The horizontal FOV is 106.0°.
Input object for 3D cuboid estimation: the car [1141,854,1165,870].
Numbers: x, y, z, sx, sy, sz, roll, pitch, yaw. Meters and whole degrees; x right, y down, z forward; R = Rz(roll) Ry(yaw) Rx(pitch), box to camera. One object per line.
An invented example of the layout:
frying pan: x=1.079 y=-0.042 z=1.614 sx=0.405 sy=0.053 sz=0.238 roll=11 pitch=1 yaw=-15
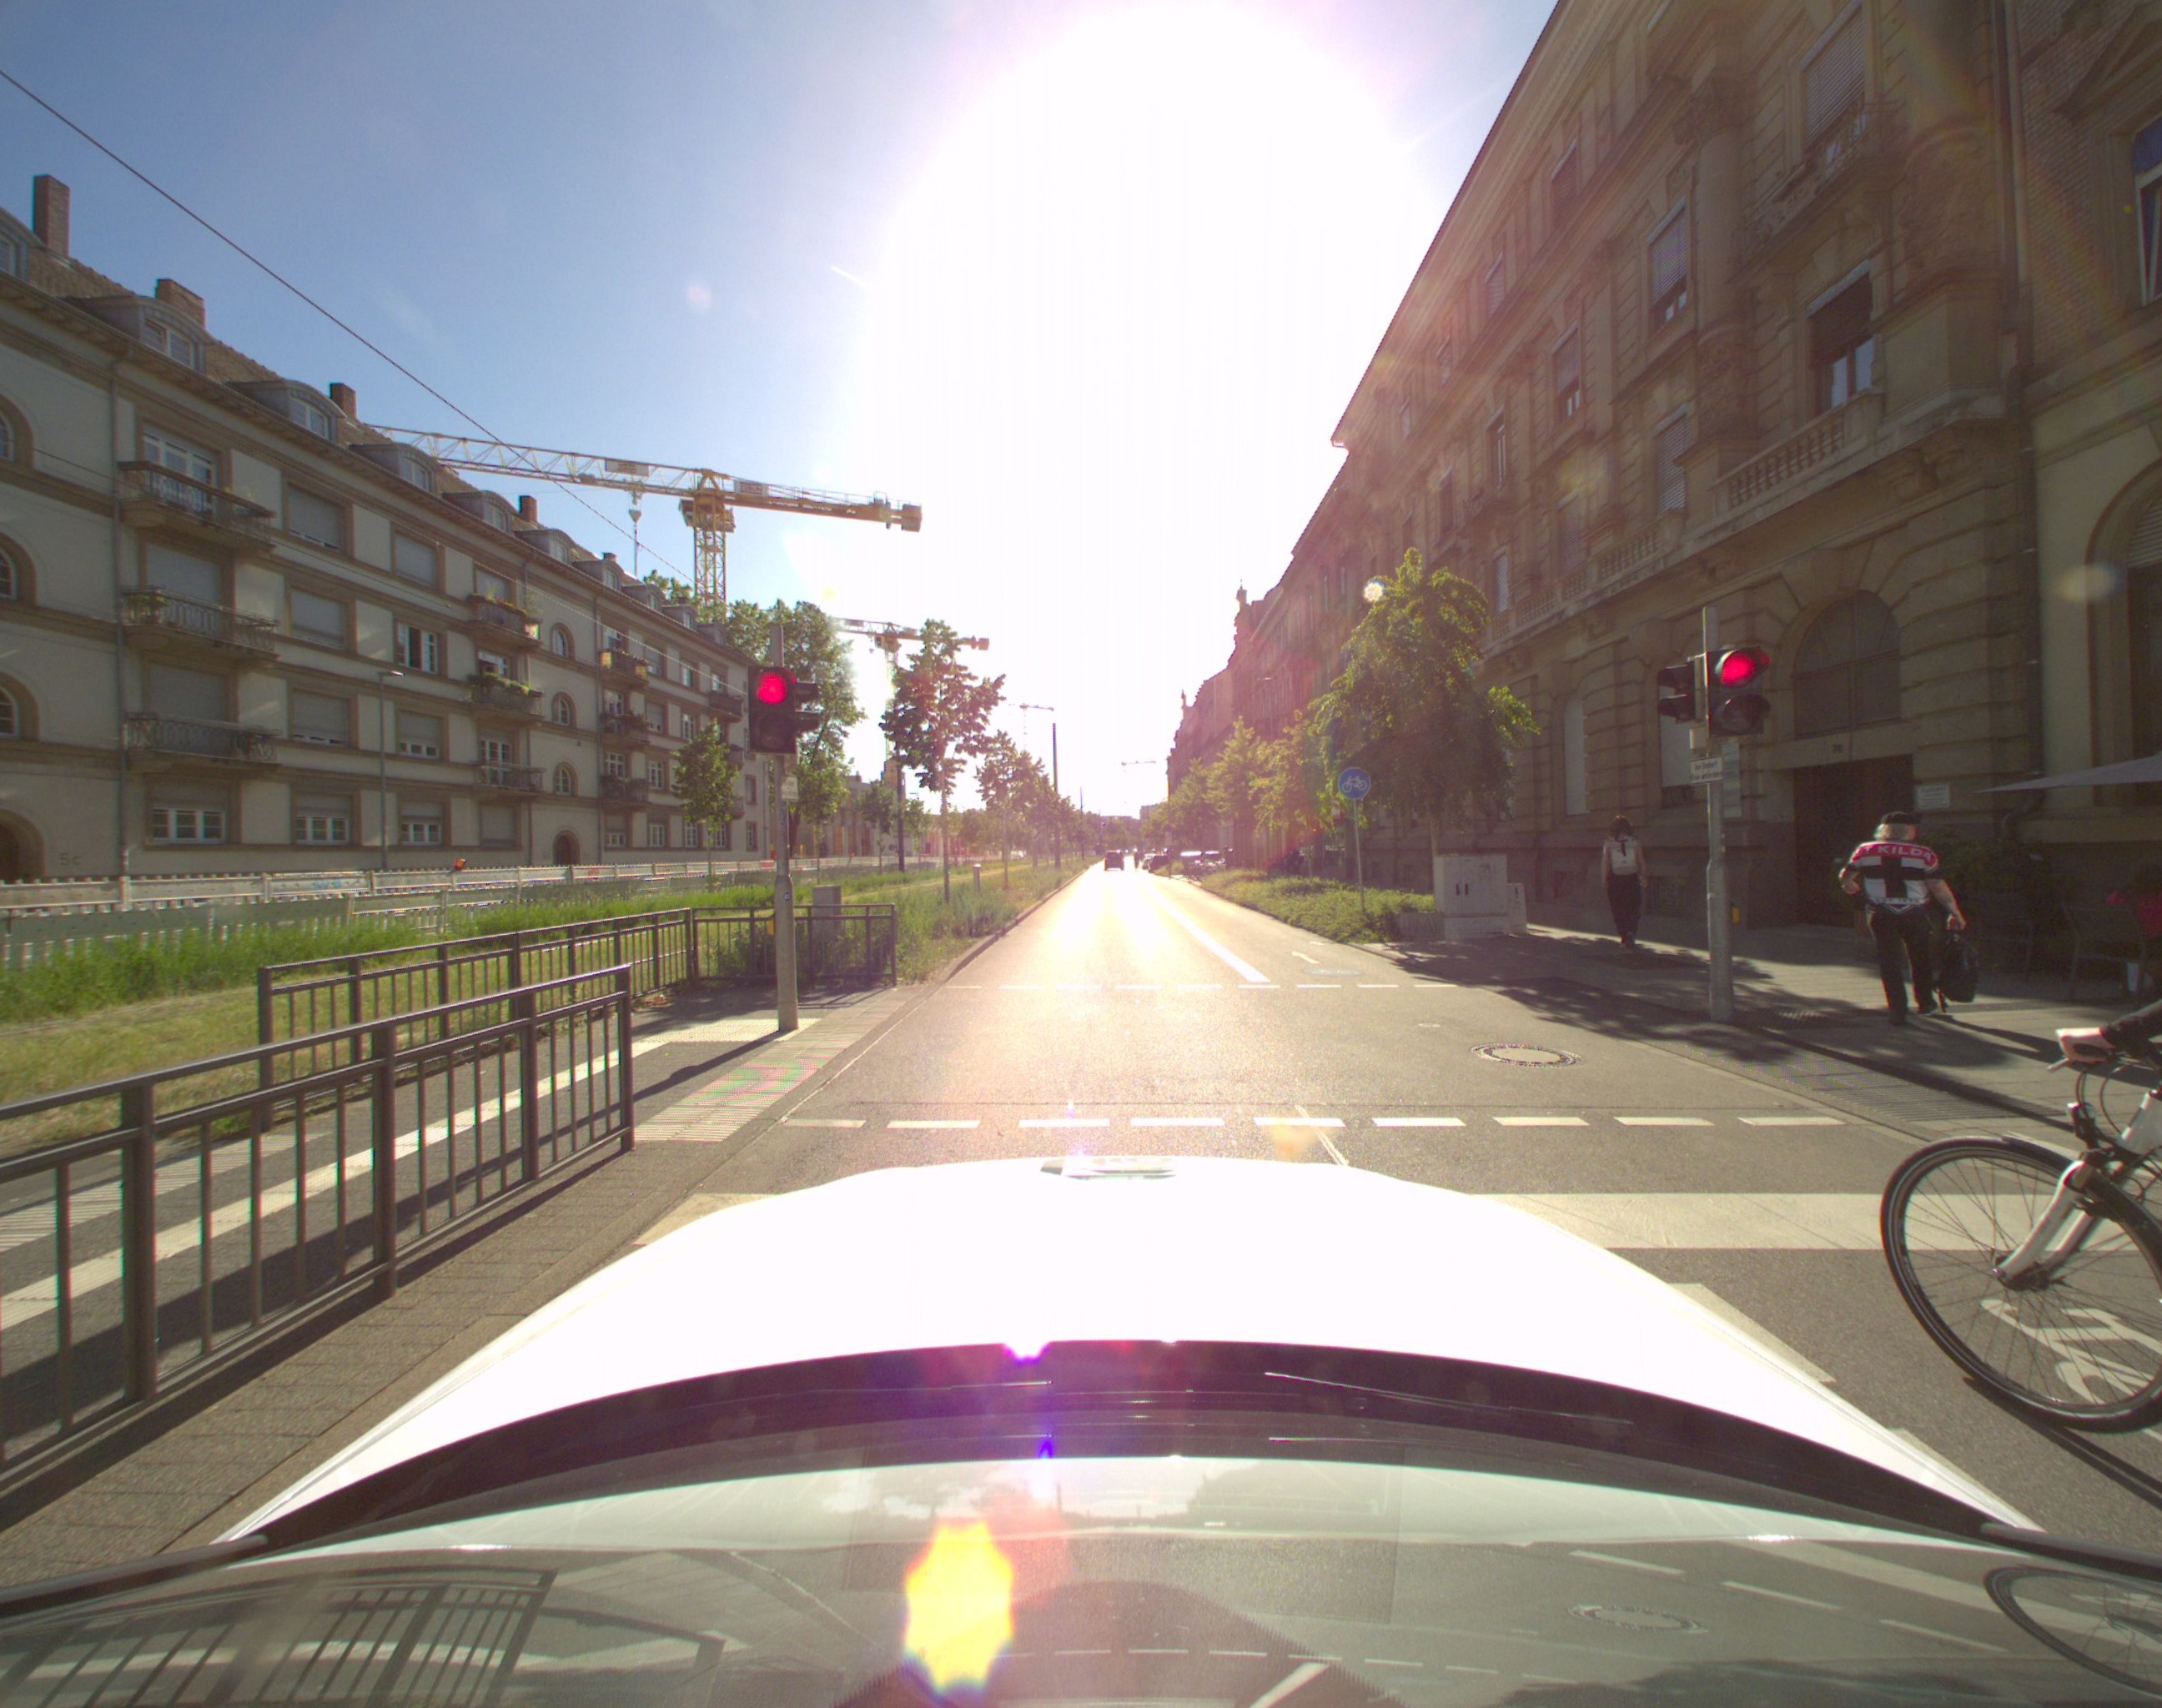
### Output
car: x=6.993 y=0.749 z=79.787 sx=2.020 sy=1.499 sz=4.532 roll=-2 pitch=0 yaw=2

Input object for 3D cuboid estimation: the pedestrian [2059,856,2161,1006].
pedestrian: x=9.107 y=0.628 z=6.945 sx=0.703 sy=1.178 sz=0.635 roll=-3 pitch=0 yaw=1

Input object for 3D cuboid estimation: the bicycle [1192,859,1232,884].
bicycle: x=6.340 y=0.841 z=39.527 sx=1.786 sy=1.030 sz=0.528 roll=-6 pitch=0 yaw=1

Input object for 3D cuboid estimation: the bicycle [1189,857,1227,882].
bicycle: x=6.372 y=0.769 z=40.901 sx=1.786 sy=1.030 sz=0.528 roll=-6 pitch=0 yaw=1

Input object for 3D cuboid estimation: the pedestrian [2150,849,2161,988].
pedestrian: x=9.892 y=0.555 z=6.922 sx=0.703 sy=1.236 sz=0.635 roll=-3 pitch=0 yaw=1

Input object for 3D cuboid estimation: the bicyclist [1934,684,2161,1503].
bicyclist: x=2.650 y=0.501 z=1.729 sx=0.776 sy=1.711 sz=0.869 roll=0 pitch=0 yaw=1

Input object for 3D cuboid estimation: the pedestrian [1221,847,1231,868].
pedestrian: x=11.384 y=0.259 z=64.018 sx=0.611 sy=1.611 sz=0.669 roll=-2 pitch=0 yaw=1

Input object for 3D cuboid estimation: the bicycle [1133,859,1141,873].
bicycle: x=4.949 y=1.041 z=72.085 sx=0.599 sy=1.181 sz=1.870 roll=0 pitch=0 yaw=1

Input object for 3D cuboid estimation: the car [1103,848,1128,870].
car: x=3.218 y=0.446 z=76.473 sx=2.192 sy=1.926 sz=4.655 roll=-2 pitch=0 yaw=2

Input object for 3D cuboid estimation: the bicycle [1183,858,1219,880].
bicycle: x=6.480 y=0.795 z=43.899 sx=1.786 sy=1.030 sz=0.528 roll=-6 pitch=0 yaw=1

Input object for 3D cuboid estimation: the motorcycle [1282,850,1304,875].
motorcycle: x=11.457 y=0.446 z=44.041 sx=0.697 sy=1.267 sz=1.983 roll=-2 pitch=0 yaw=2

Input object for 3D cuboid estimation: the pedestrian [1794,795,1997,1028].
pedestrian: x=6.828 y=0.436 z=6.859 sx=0.869 sy=1.788 sz=0.963 roll=0 pitch=0 yaw=-25

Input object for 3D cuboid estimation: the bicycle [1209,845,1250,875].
bicycle: x=7.481 y=0.297 z=41.088 sx=1.887 sy=1.330 sz=0.617 roll=-6 pitch=0 yaw=1

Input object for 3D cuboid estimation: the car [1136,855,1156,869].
car: x=7.337 y=0.846 z=92.315 sx=2.020 sy=1.499 sz=4.532 roll=-2 pitch=0 yaw=2

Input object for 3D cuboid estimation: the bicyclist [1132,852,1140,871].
bicyclist: x=4.908 y=0.633 z=72.241 sx=0.681 sy=1.673 sz=0.922 roll=0 pitch=0 yaw=1

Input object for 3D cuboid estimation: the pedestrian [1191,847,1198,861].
pedestrian: x=12.707 y=-0.015 z=91.269 sx=0.611 sy=1.611 sz=0.669 roll=-2 pitch=0 yaw=1

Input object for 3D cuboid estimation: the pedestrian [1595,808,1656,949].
pedestrian: x=7.805 y=0.328 z=11.682 sx=0.645 sy=1.908 sz=1.086 roll=-2 pitch=0 yaw=33

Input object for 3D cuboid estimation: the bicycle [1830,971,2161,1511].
bicycle: x=2.712 y=0.933 z=1.770 sx=0.555 sy=1.092 sz=1.793 roll=0 pitch=0 yaw=1

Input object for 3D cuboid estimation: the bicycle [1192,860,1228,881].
bicycle: x=6.718 y=0.859 z=42.462 sx=1.786 sy=1.030 sz=0.528 roll=-2 pitch=0 yaw=1

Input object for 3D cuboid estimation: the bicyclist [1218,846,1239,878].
bicyclist: x=7.446 y=0.386 z=41.075 sx=0.795 sy=1.530 sz=0.663 roll=-6 pitch=0 yaw=1

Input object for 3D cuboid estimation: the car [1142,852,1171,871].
car: x=6.198 y=0.603 z=67.414 sx=2.020 sy=1.499 sz=4.655 roll=-2 pitch=0 yaw=2
